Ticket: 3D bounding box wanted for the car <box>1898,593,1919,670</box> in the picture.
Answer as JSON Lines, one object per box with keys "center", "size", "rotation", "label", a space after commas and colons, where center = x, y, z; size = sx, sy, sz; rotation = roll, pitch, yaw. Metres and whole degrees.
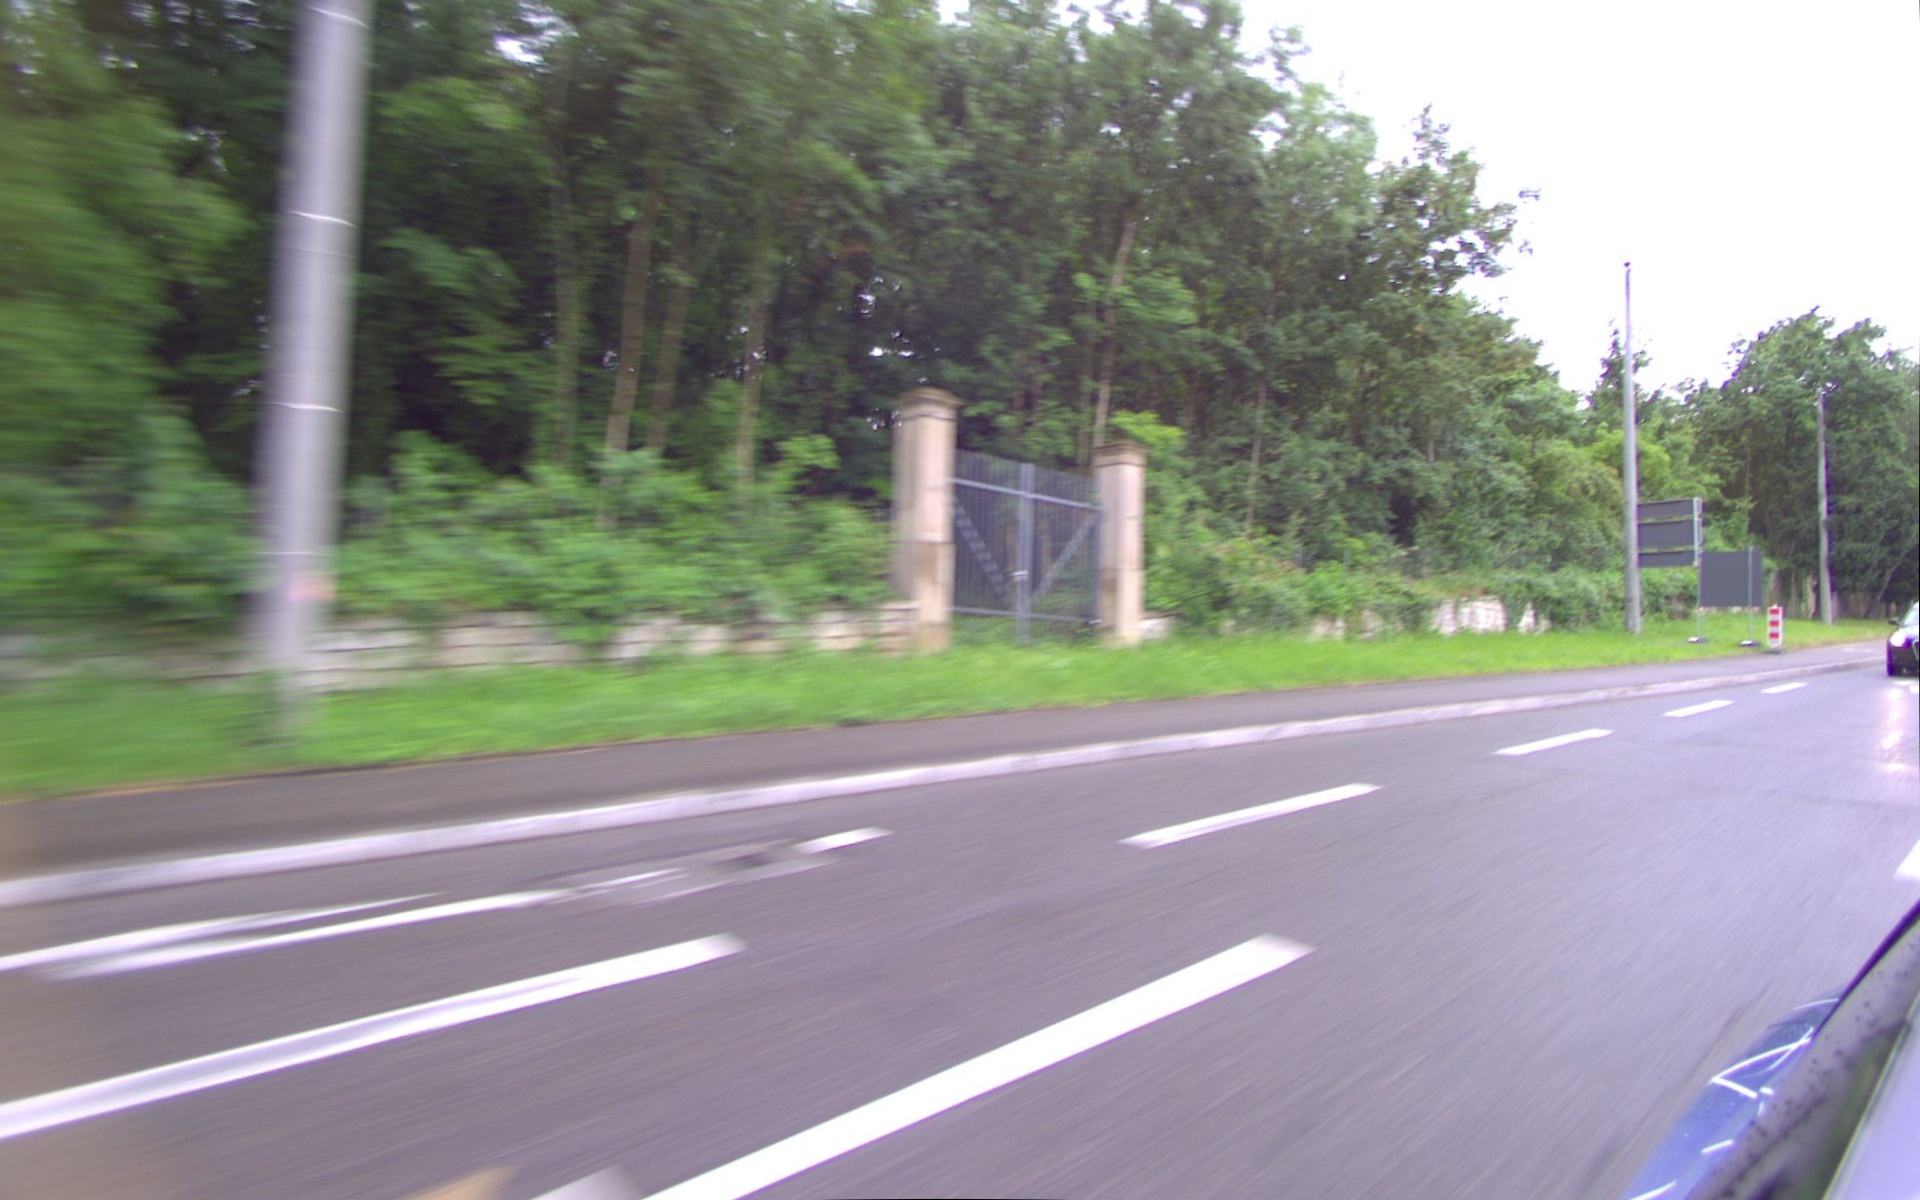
{"center": [21.943, 0.655, 21.967], "size": [3.929, 1.608, 1.854], "rotation": [0, 0, -40], "label": "car"}
